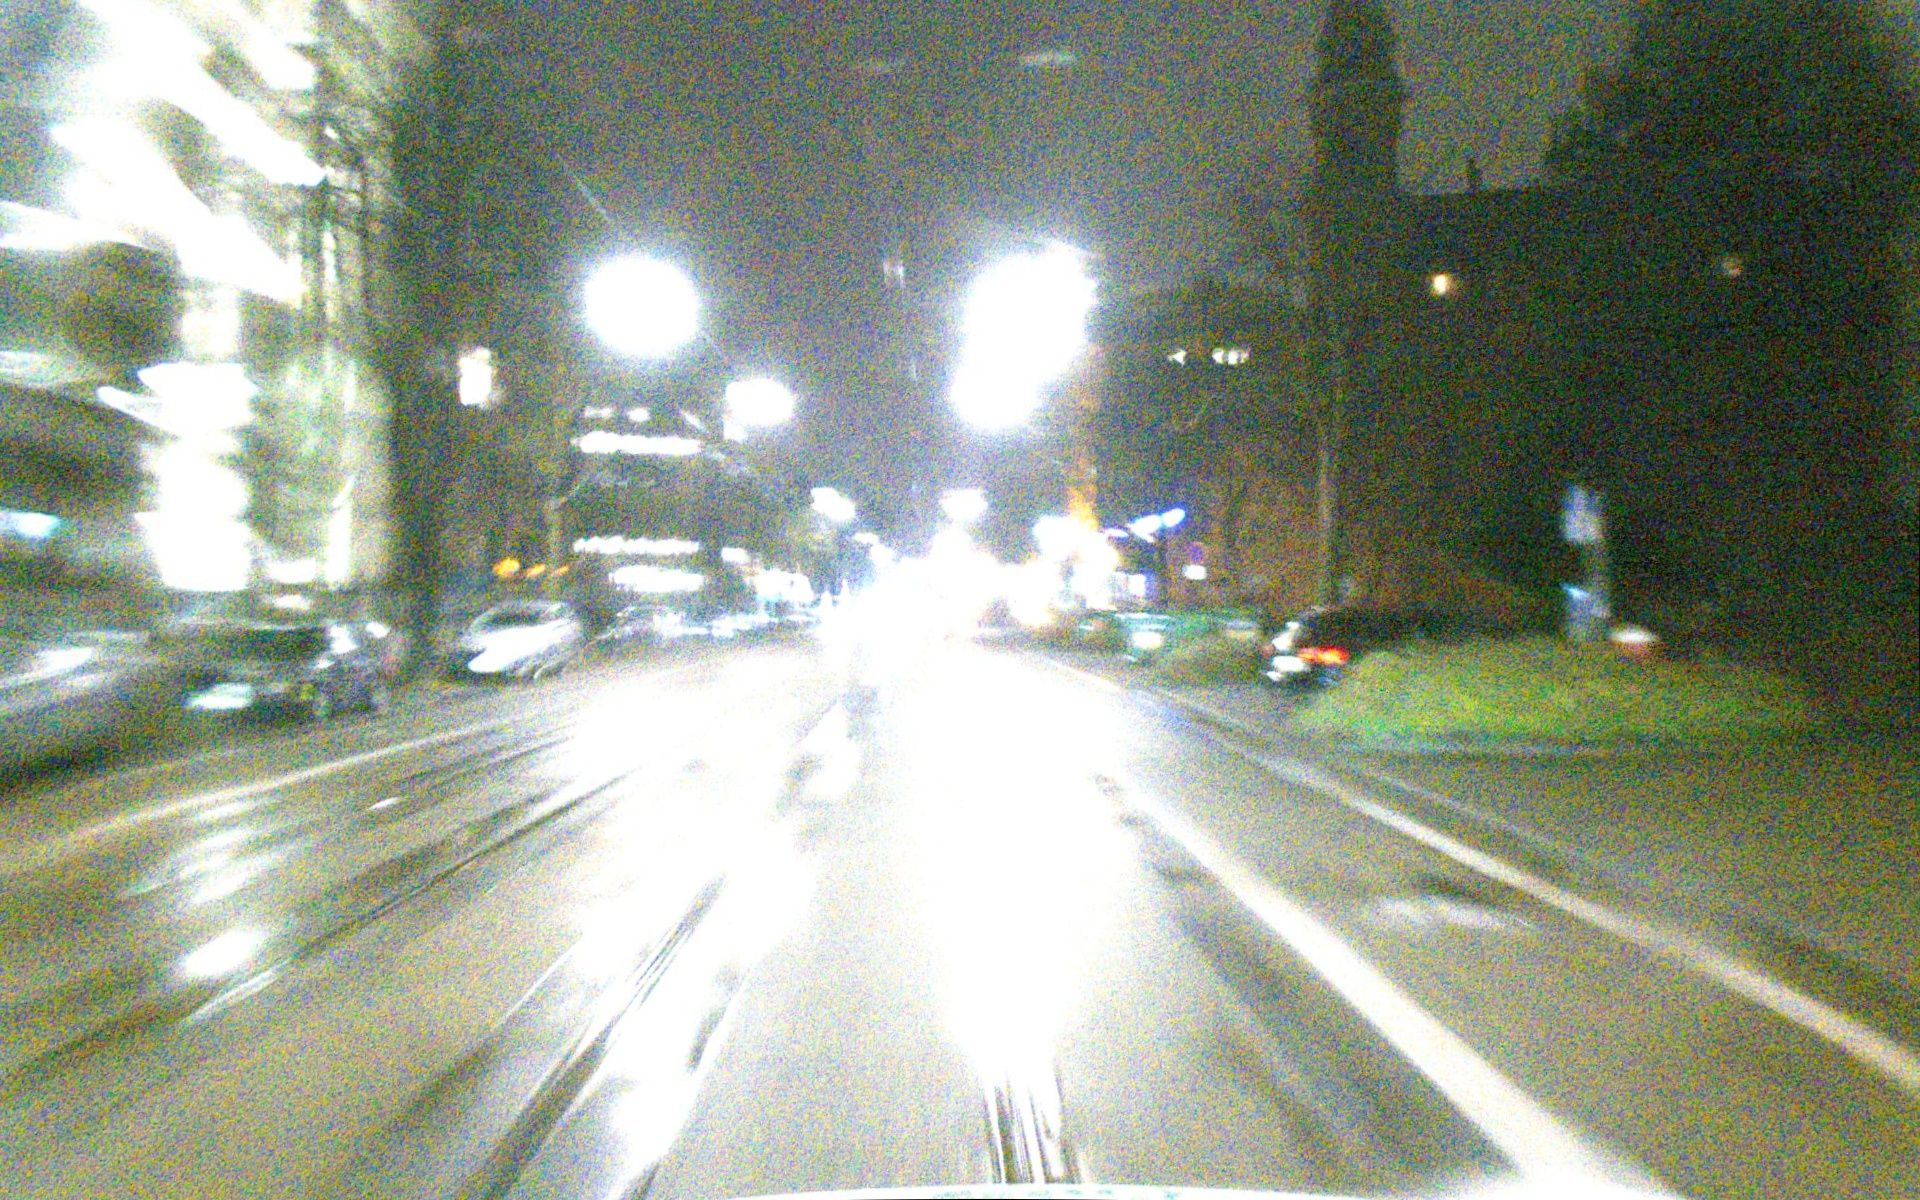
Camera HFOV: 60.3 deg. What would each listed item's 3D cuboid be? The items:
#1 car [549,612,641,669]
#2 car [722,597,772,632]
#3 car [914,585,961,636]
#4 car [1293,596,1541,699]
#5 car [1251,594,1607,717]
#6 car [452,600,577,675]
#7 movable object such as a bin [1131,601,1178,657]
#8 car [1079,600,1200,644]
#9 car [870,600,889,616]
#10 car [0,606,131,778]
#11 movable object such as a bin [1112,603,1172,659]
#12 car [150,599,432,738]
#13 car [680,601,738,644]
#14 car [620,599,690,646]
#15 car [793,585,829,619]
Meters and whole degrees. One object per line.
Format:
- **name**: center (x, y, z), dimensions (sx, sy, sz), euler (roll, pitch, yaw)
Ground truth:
- **car**: center (-9.703, 1.042, 44.285), dimensions (1.804, 1.448, 4.205), euler (0, 0, -4)
- **car**: center (-10.373, 0.699, 80.776), dimensions (1.943, 1.660, 4.515), euler (1, 0, -1)
- **car**: center (-1.139, 0.532, 81.518), dimensions (2.199, 2.402, 4.391), euler (1, -1, -2)
- **car**: center (7.454, 0.736, 27.002), dimensions (3.638, 1.544, 1.649), euler (-1, 0, -20)
- **car**: center (6.425, 0.704, 22.671), dimensions (4.519, 1.501, 1.828), euler (-1, 0, -21)
- **car**: center (-9.283, 0.748, 34.808), dimensions (1.738, 1.465, 4.603), euler (0, 0, -5)
- **movable object such as a bin**: center (5.208, 0.772, 44.386), dimensions (1.183, 1.447, 1.101), euler (-1, -1, 4)
- **car**: center (6.623, 0.820, 61.021), dimensions (4.043, 1.564, 1.944), euler (1, -1, -27)
- **car**: center (-7.937, 0.821, 164.070), dimensions (1.740, 1.544, 4.050), euler (1, 0, -1)
- **car**: center (-9.032, 0.780, 14.029), dimensions (1.696, 1.463, 4.625), euler (1, 0, -1)
- **movable object such as a bin**: center (4.735, 0.805, 43.106), dimensions (1.296, 1.433, 1.158), euler (-1, -1, -7)
- **car**: center (-9.189, 0.883, 23.217), dimensions (2.100, 1.648, 4.587), euler (3, -1, -2)
- **car**: center (-10.115, 0.896, 66.901), dimensions (1.843, 1.572, 4.396), euler (4, -1, -4)
- **car**: center (-10.074, 0.716, 54.841), dimensions (1.851, 1.488, 4.954), euler (0, 0, -5)
- **car**: center (-11.720, 0.129, 130.549), dimensions (2.140, 2.637, 6.392), euler (1, 0, 1)
